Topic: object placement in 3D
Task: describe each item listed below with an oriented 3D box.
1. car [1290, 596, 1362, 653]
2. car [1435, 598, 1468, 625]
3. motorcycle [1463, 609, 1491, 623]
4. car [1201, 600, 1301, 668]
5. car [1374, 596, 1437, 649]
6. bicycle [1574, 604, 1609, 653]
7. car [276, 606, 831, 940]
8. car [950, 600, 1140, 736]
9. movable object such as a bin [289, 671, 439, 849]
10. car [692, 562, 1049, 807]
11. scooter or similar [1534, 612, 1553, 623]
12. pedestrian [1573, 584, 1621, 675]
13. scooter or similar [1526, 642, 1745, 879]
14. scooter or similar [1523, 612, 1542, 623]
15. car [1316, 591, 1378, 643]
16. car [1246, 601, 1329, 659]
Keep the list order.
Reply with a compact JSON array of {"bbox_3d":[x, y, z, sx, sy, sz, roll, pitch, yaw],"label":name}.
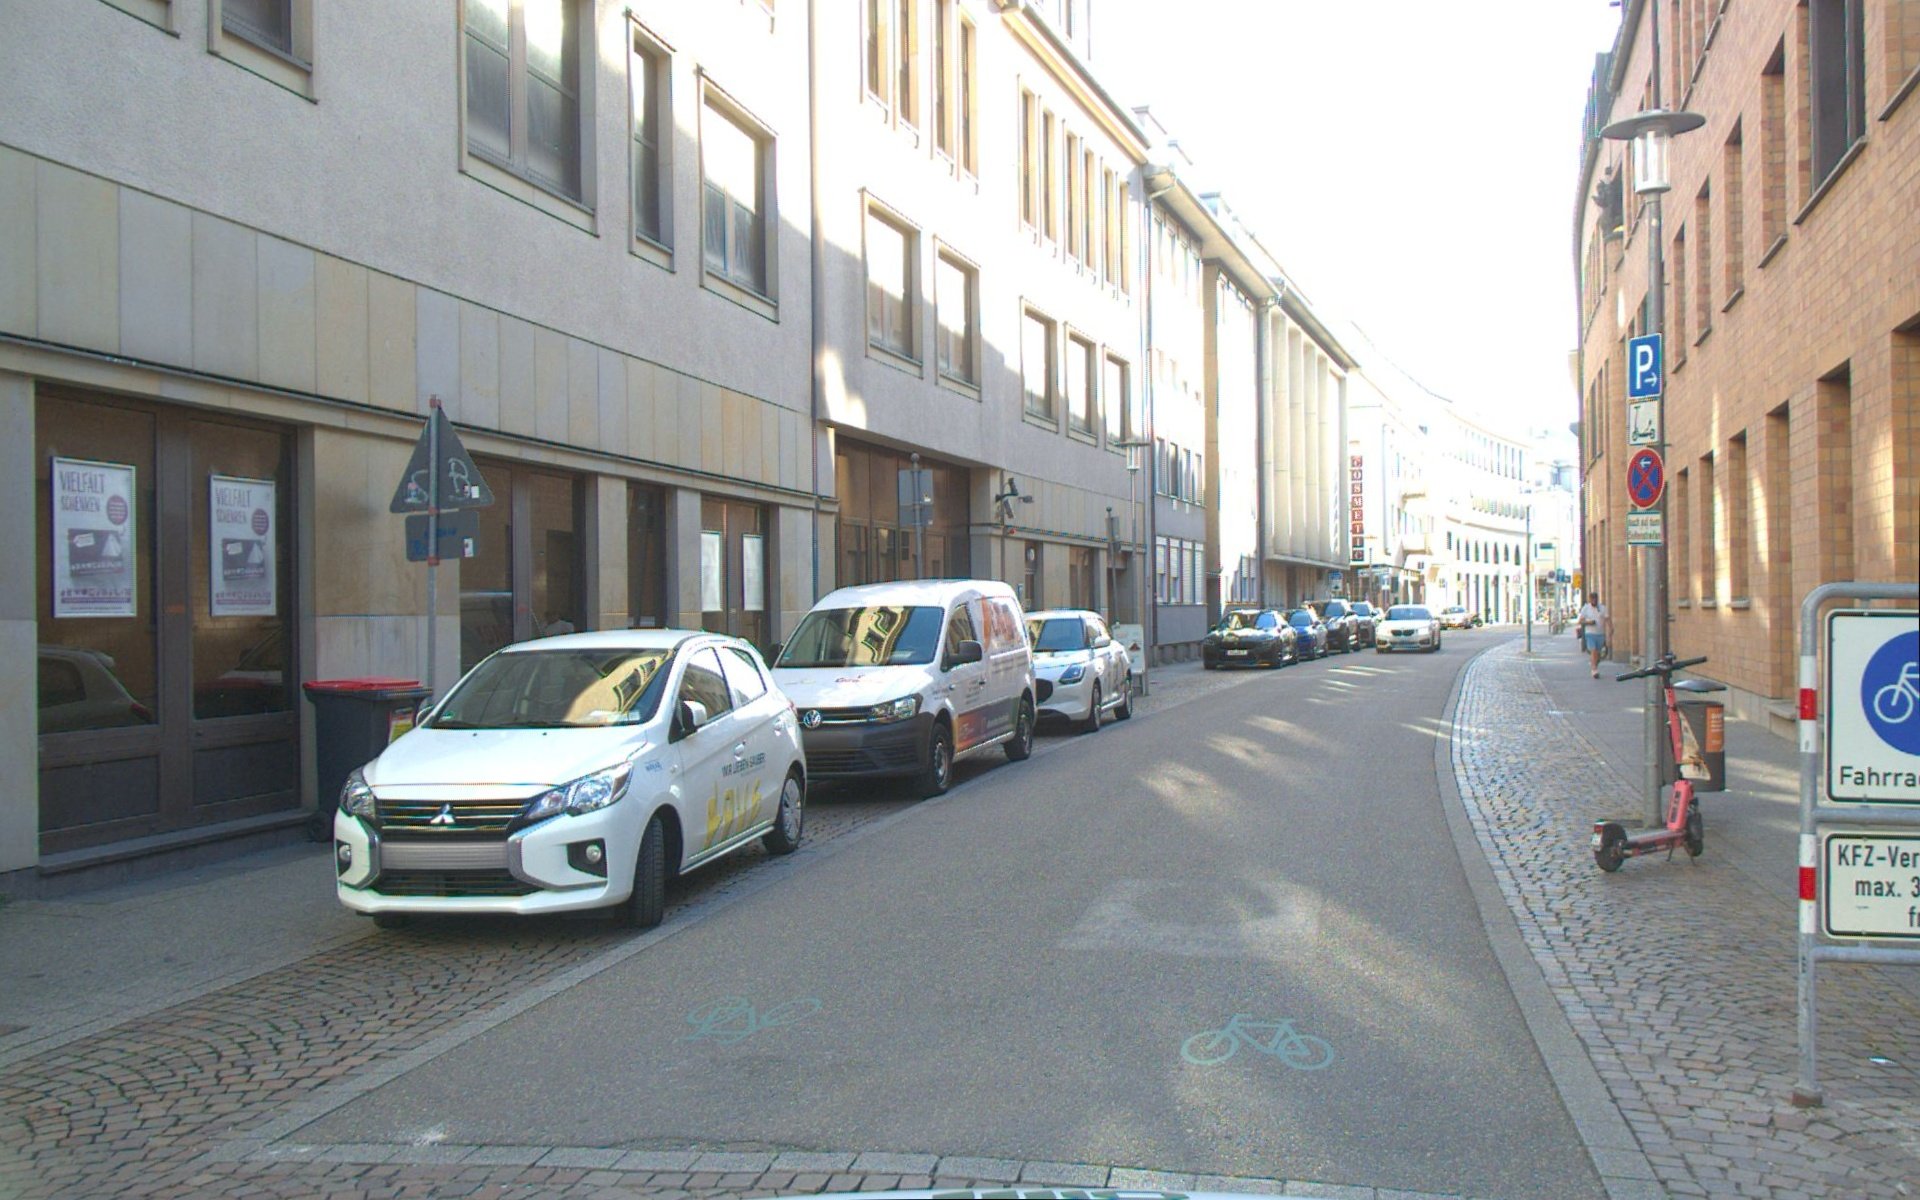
[{"bbox_3d":[11.795,0.762,53.093,1.850,1.705,4.556,-1,0,17],"label":"car"},{"bbox_3d":[30.512,0.706,102.627,1.701,1.634,3.532,0,0,22],"label":"car"},{"bbox_3d":[34.098,1.036,109.146,1.658,0.874,0.594,1,-1,26],"label":"motorcycle"},{"bbox_3d":[7.347,0.804,41.452,1.850,1.557,4.731,-1,0,17],"label":"car"},{"bbox_3d":[13.912,0.669,51.509,1.678,1.544,4.162,-1,0,17],"label":"car"},{"bbox_3d":[15.622,0.689,40.923,0.538,1.122,1.983,-4,-1,15],"label":"bicycle"},{"bbox_3d":[-2.094,0.839,9.682,1.700,1.518,3.803,-3,-1,10],"label":"car"},{"bbox_3d":[1.201,0.818,21.536,1.634,1.548,3.778,-3,-1,15],"label":"car"},{"bbox_3d":[-4.001,1.057,11.127,0.721,1.120,0.591,1,-1,12],"label":"movable object such as a bin"},{"bbox_3d":[-0.616,0.680,15.428,1.859,1.890,4.737,-3,-1,15],"label":"car"},{"bbox_3d":[51.377,1.543,145.560,2.205,0.944,0.519,0,0,-39],"label":"scooter or similar"},{"bbox_3d":[12.605,0.583,32.743,0.744,1.746,0.822,-3,-1,17],"label":"pedestrian"},{"bbox_3d":[3.992,0.901,9.744,1.402,1.257,0.532,0,1,-35],"label":"scooter or similar"},{"bbox_3d":[48.916,1.464,141.311,2.205,0.944,0.519,0,0,-39],"label":"scooter or similar"},{"bbox_3d":[14.009,0.587,59.713,1.850,1.773,4.393,-1,0,17],"label":"car"},{"bbox_3d":[9.421,0.831,47.321,1.850,1.557,4.342,-1,0,17],"label":"car"}]
